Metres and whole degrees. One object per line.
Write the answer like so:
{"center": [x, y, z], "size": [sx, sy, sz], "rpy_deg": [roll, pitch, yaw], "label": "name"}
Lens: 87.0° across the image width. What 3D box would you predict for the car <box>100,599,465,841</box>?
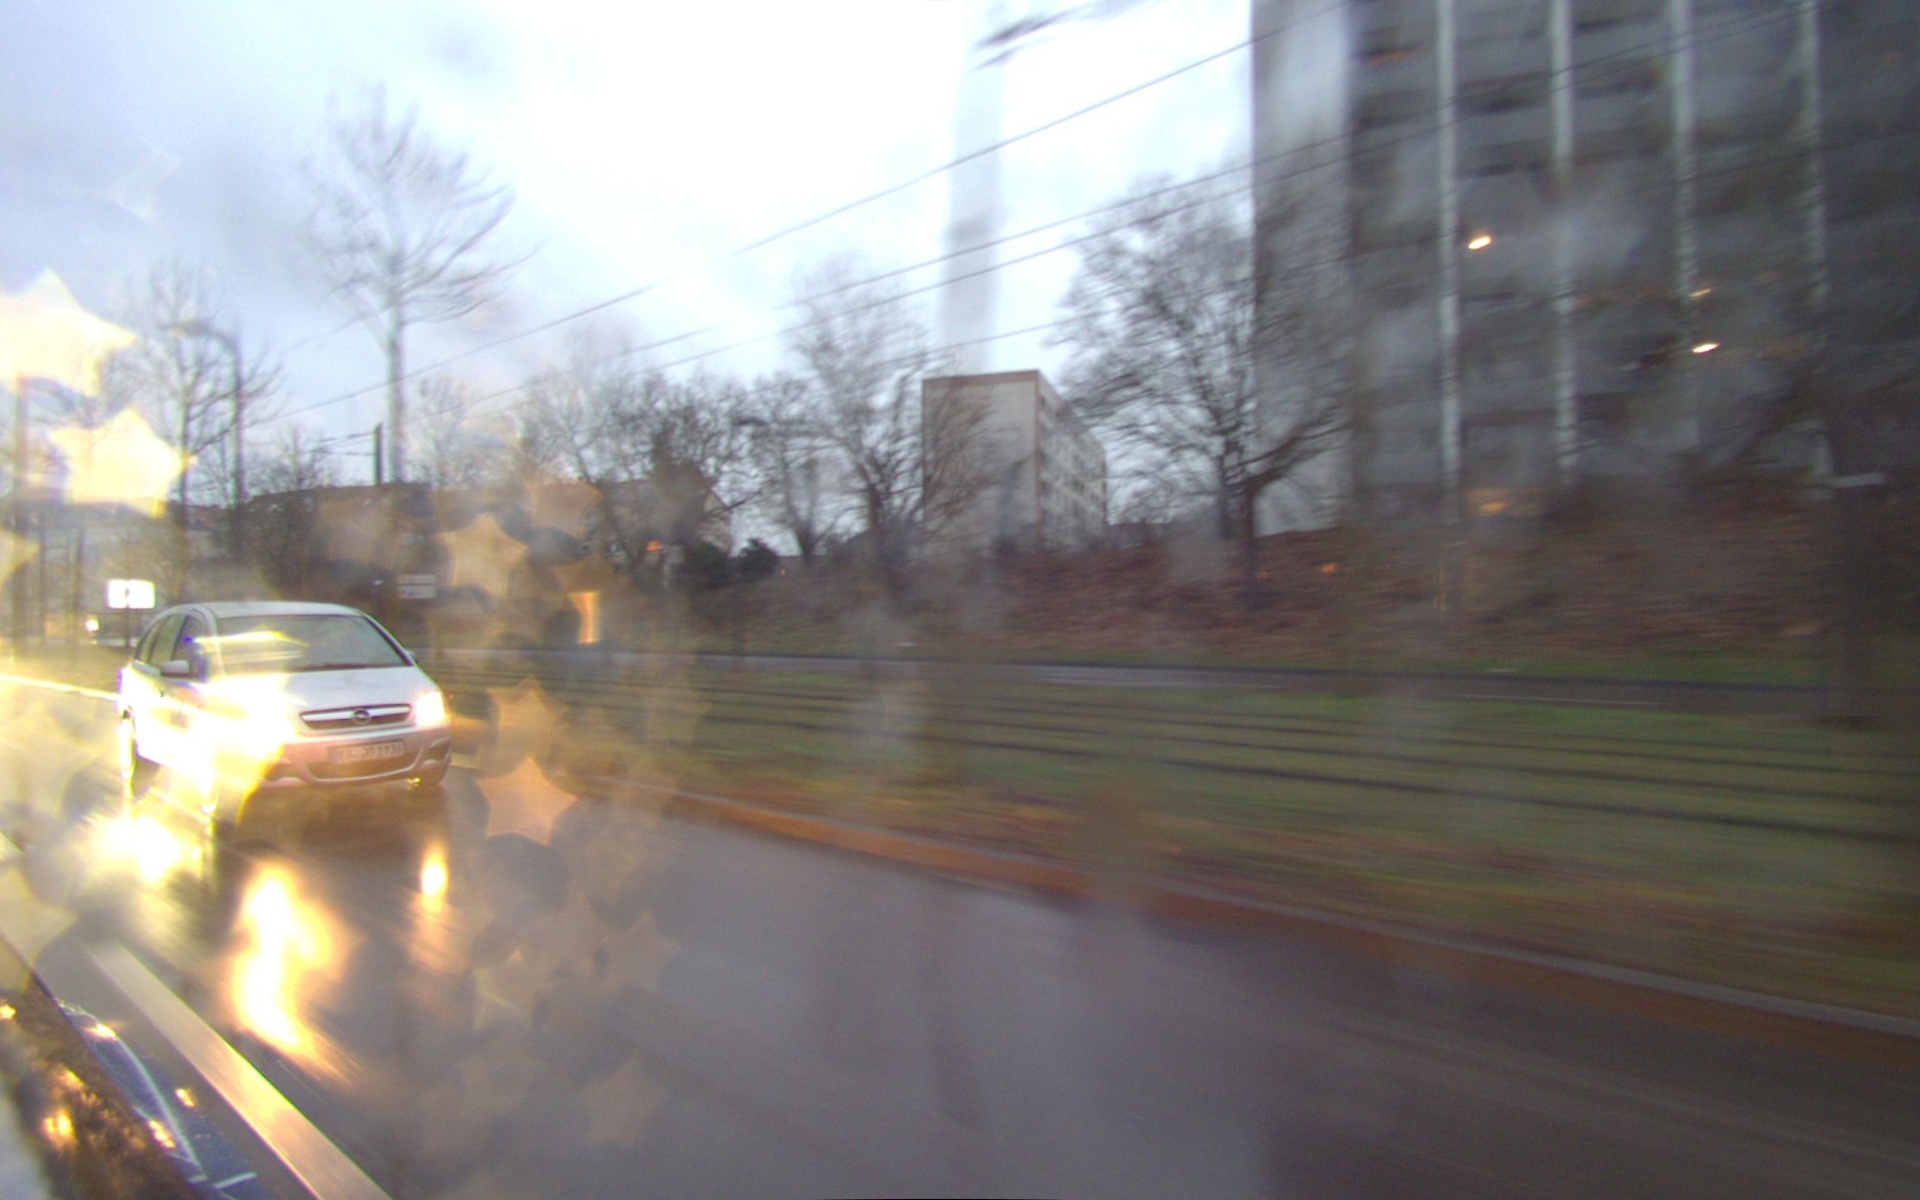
{"center": [-5.920, 0.836, 8.660], "size": [3.921, 1.587, 1.648], "rpy_deg": [-2, 0, 42], "label": "car"}
